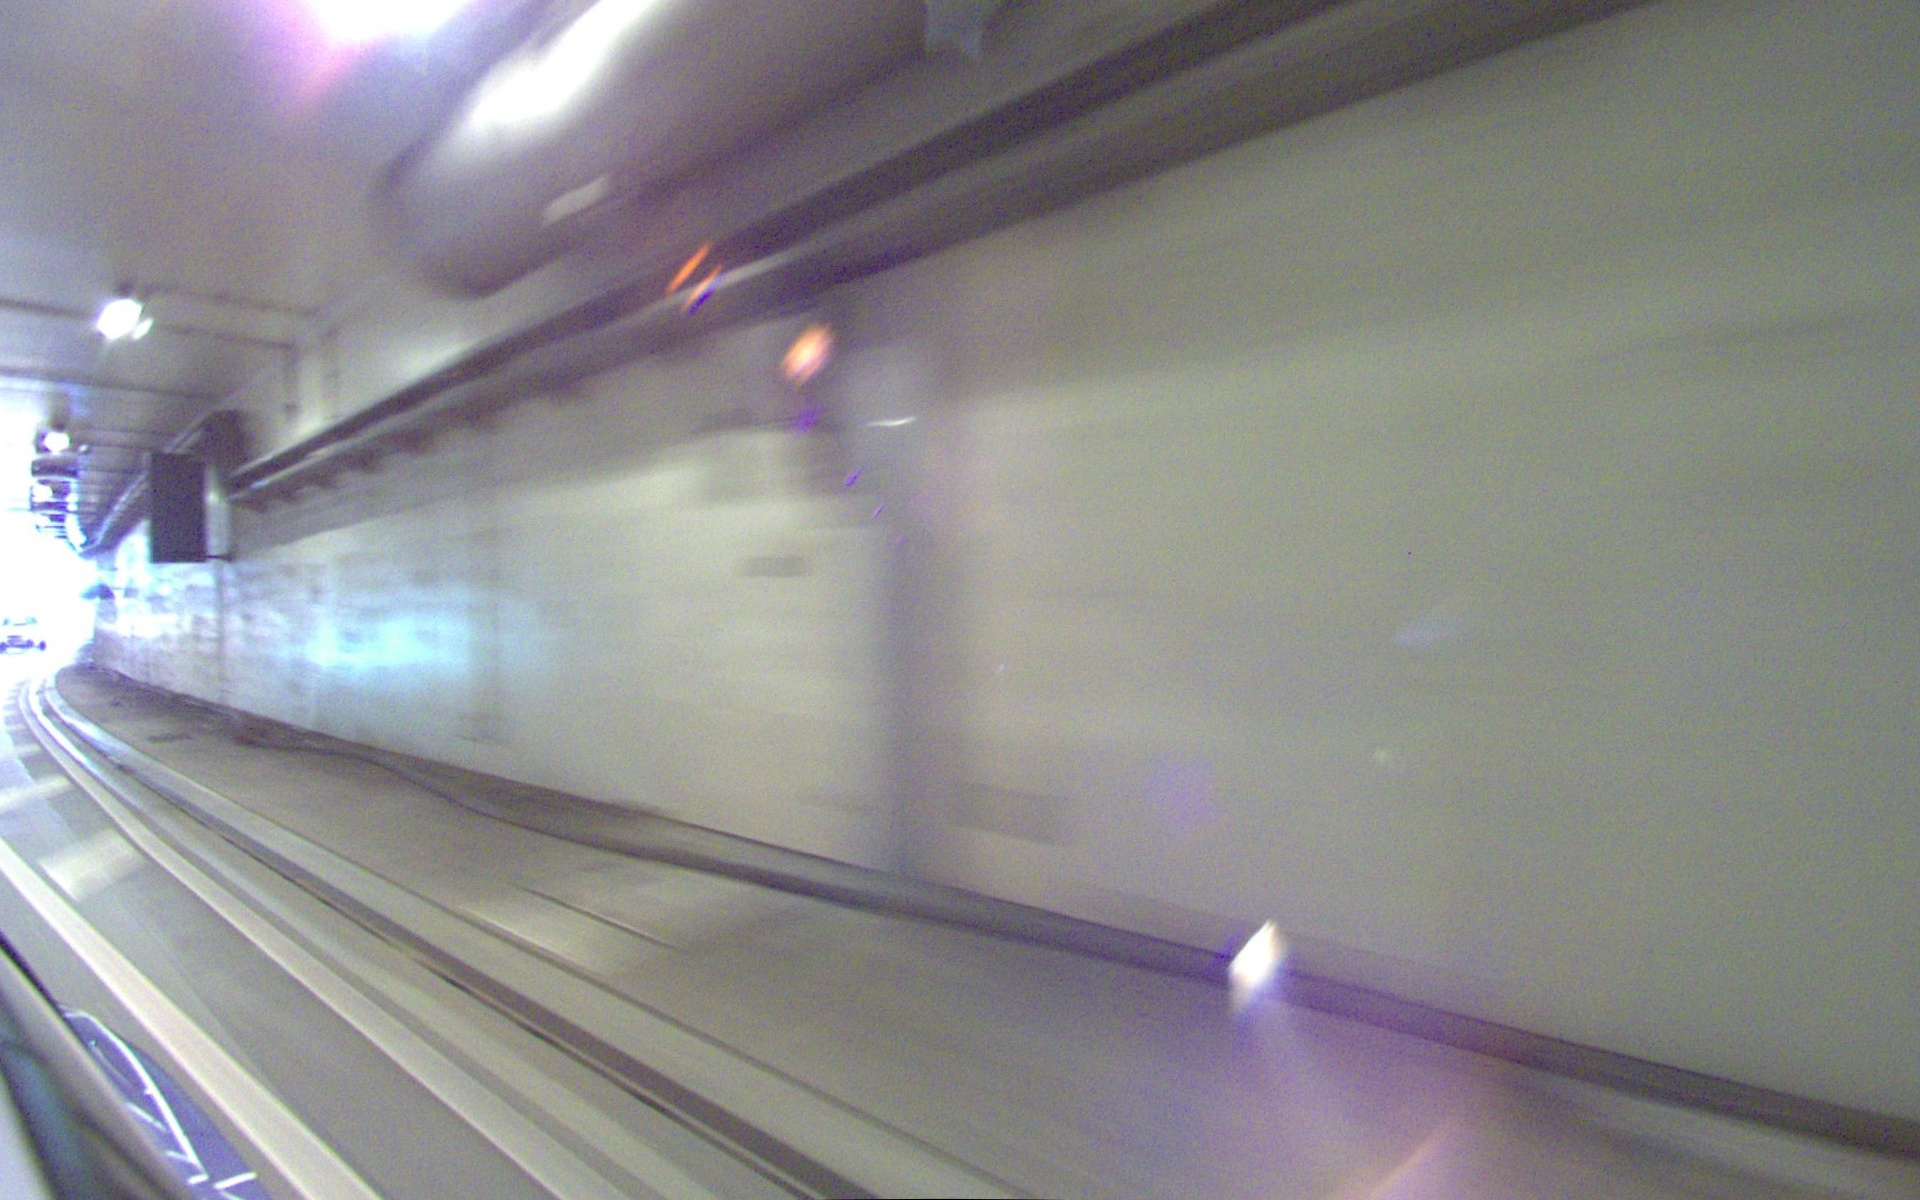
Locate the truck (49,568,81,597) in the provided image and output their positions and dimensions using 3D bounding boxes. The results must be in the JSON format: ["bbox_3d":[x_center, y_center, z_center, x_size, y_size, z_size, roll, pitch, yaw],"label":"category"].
[{"bbox_3d":[-115.596,-2.296,130.724,2.456,3.413,6.391,-3,5,-37],"label":"truck"}]

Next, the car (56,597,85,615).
[{"bbox_3d":[-90.499,0.598,103.031,1.921,1.544,4.009,-4,6,-38],"label":"car"}]

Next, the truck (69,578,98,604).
[{"bbox_3d":[-103.968,-1.113,120.143,2.106,2.748,5.684,-3,5,-37],"label":"truck"}]

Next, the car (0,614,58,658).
[{"bbox_3d":[-46.927,1.768,50.887,1.906,1.943,4.206,-4,2,-37],"label":"car"}]

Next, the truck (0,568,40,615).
[{"bbox_3d":[-99.100,-0.981,106.037,2.842,4.504,10.479,-3,5,-37],"label":"truck"}]
